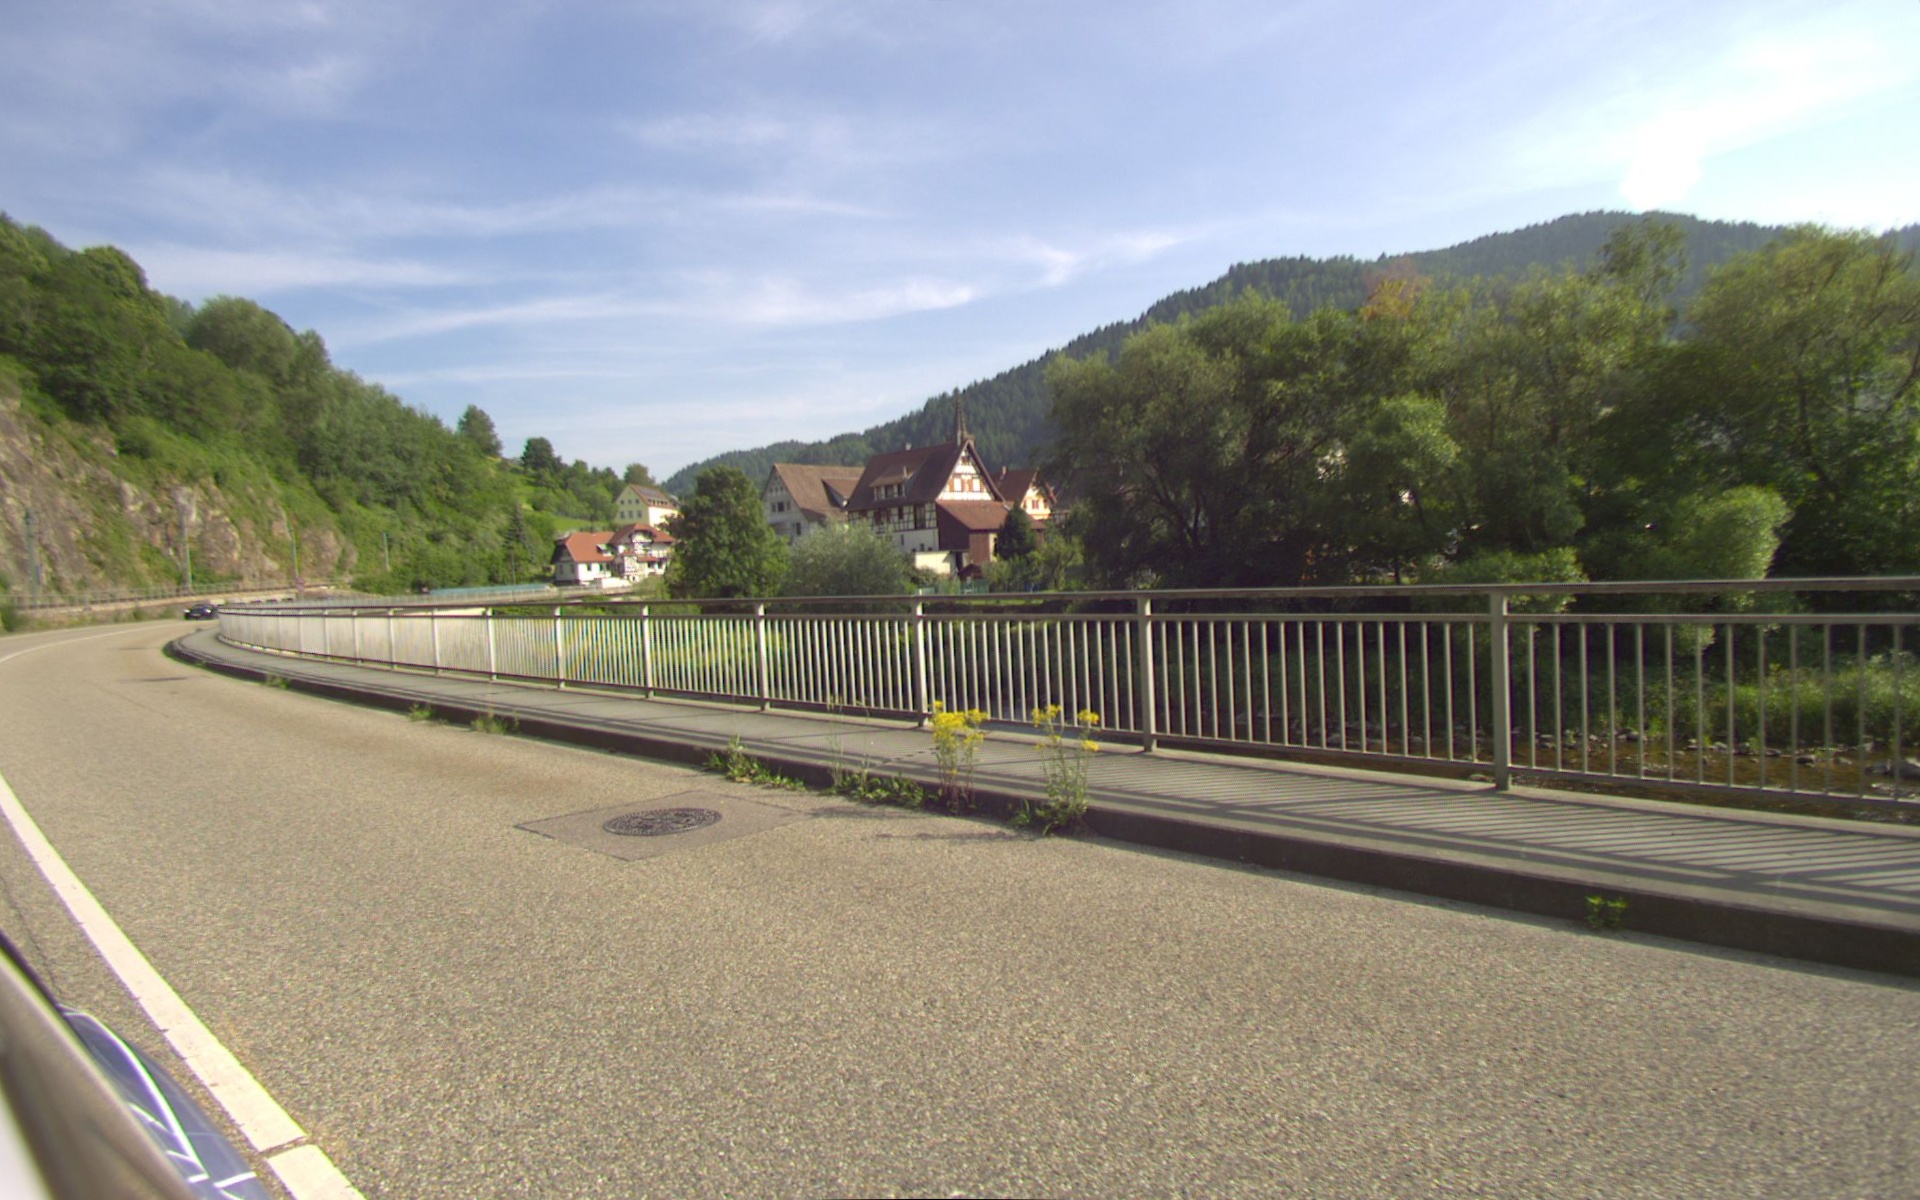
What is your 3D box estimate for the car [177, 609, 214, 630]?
[{"bbox_3d":[-61.432,1.583,81.361,1.675,1.533,3.483,3,-3,-27],"label":"car"}]
